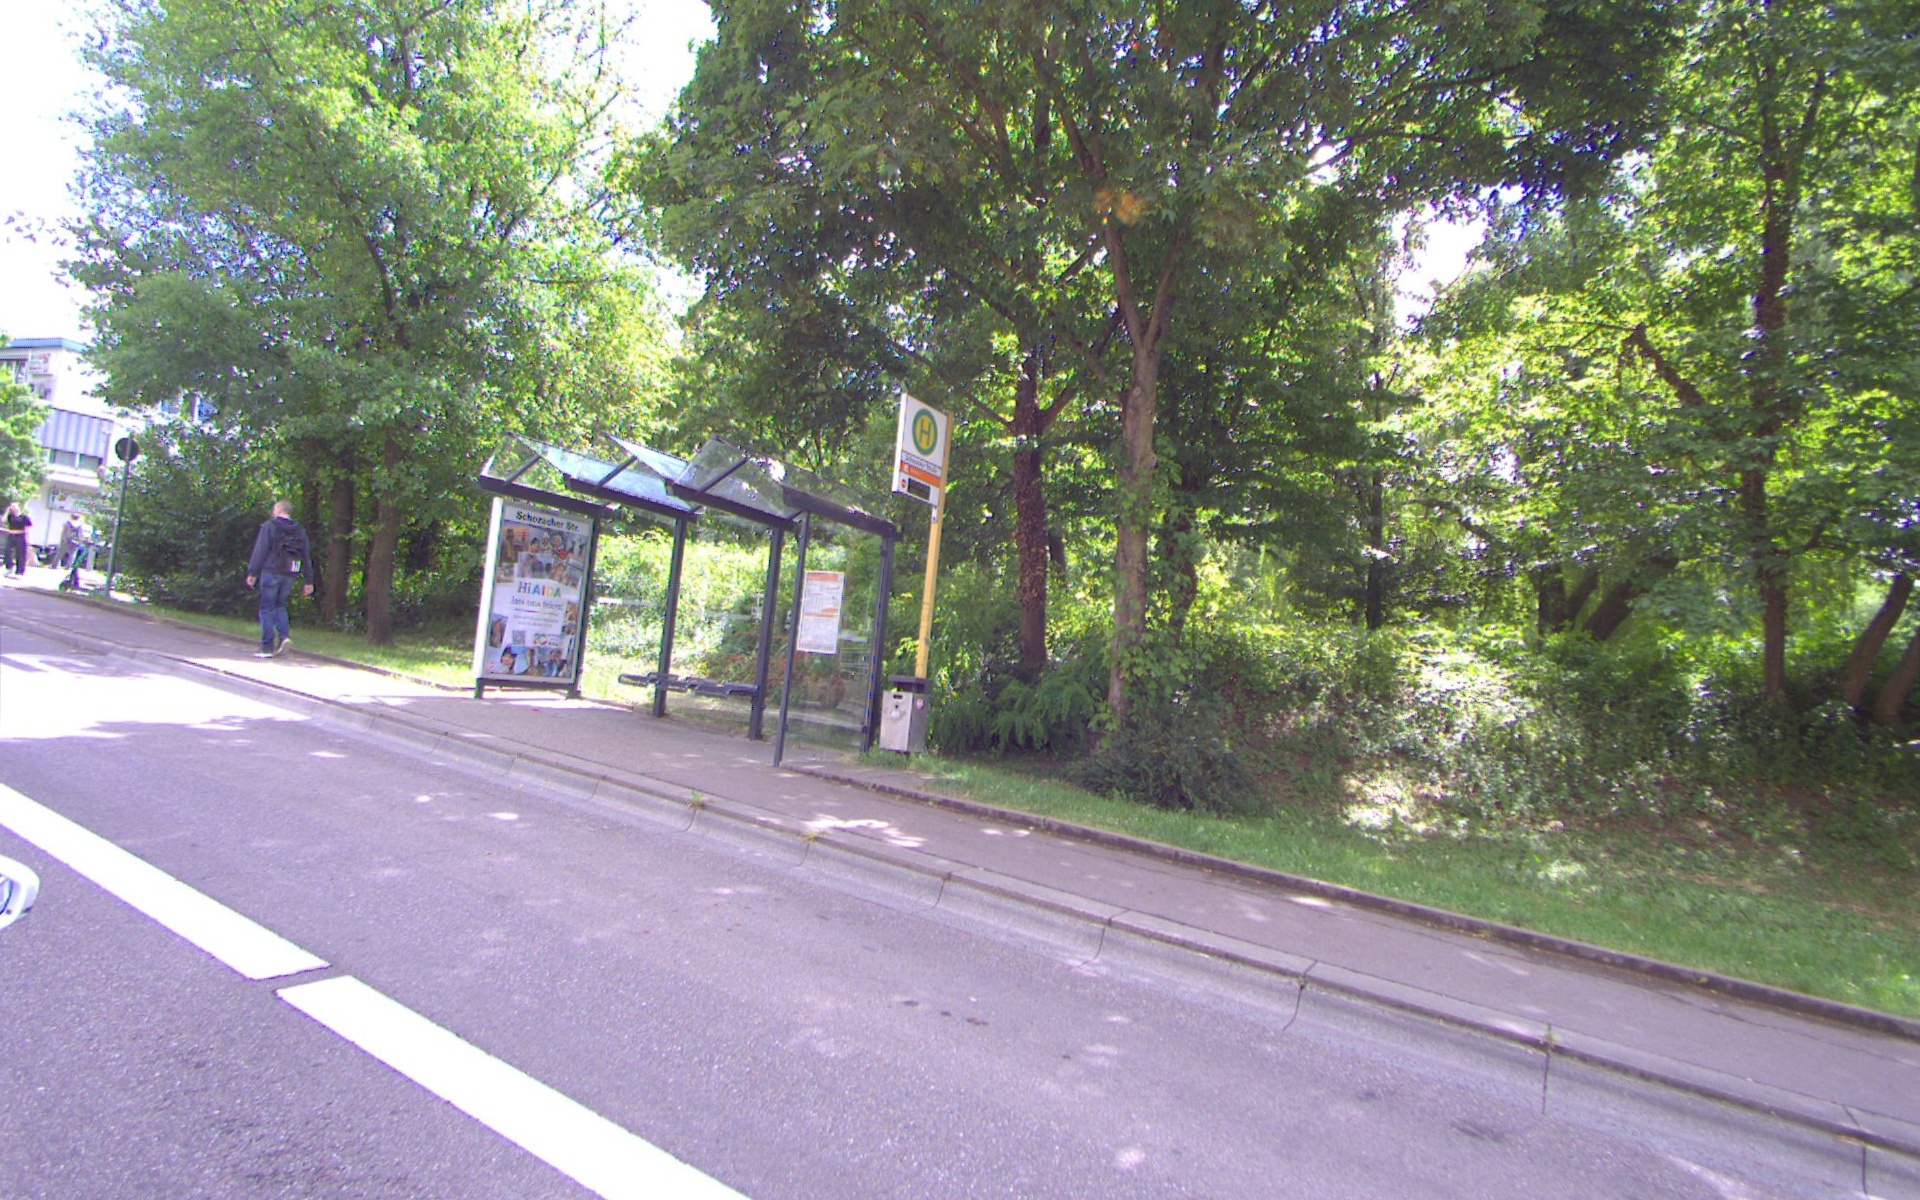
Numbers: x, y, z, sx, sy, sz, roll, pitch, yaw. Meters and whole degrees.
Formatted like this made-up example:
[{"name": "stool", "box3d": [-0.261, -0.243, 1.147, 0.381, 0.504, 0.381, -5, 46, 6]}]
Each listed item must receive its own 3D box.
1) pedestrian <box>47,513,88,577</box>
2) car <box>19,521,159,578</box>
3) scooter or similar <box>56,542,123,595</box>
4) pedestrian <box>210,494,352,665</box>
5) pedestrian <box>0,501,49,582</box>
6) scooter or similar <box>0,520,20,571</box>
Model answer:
[{"name": "pedestrian", "box3d": [-26.724, -1.651, 30.141, 0.611, 1.808, 0.562, 12, -5, -40]}, {"name": "car", "box3d": [-33.519, -1.898, 38.827, 1.679, 1.619, 3.592, 6, -2, 20]}, {"name": "scooter or similar", "box3d": [-20.299, -0.723, 23.476, 0.325, 1.112, 1.153, 7, -2, 9]}, {"name": "pedestrian", "box3d": [-8.378, -0.252, 12.416, 1.250, 1.916, 0.803, 6, -2, 33]}, {"name": "pedestrian", "box3d": [-22.742, -1.401, 24.344, 0.758, 1.808, 0.562, 13, -6, -43]}, {"name": "scooter or similar", "box3d": [-24.928, -1.449, 25.766, 0.326, 1.273, 1.111, 7, -1, 20]}]
